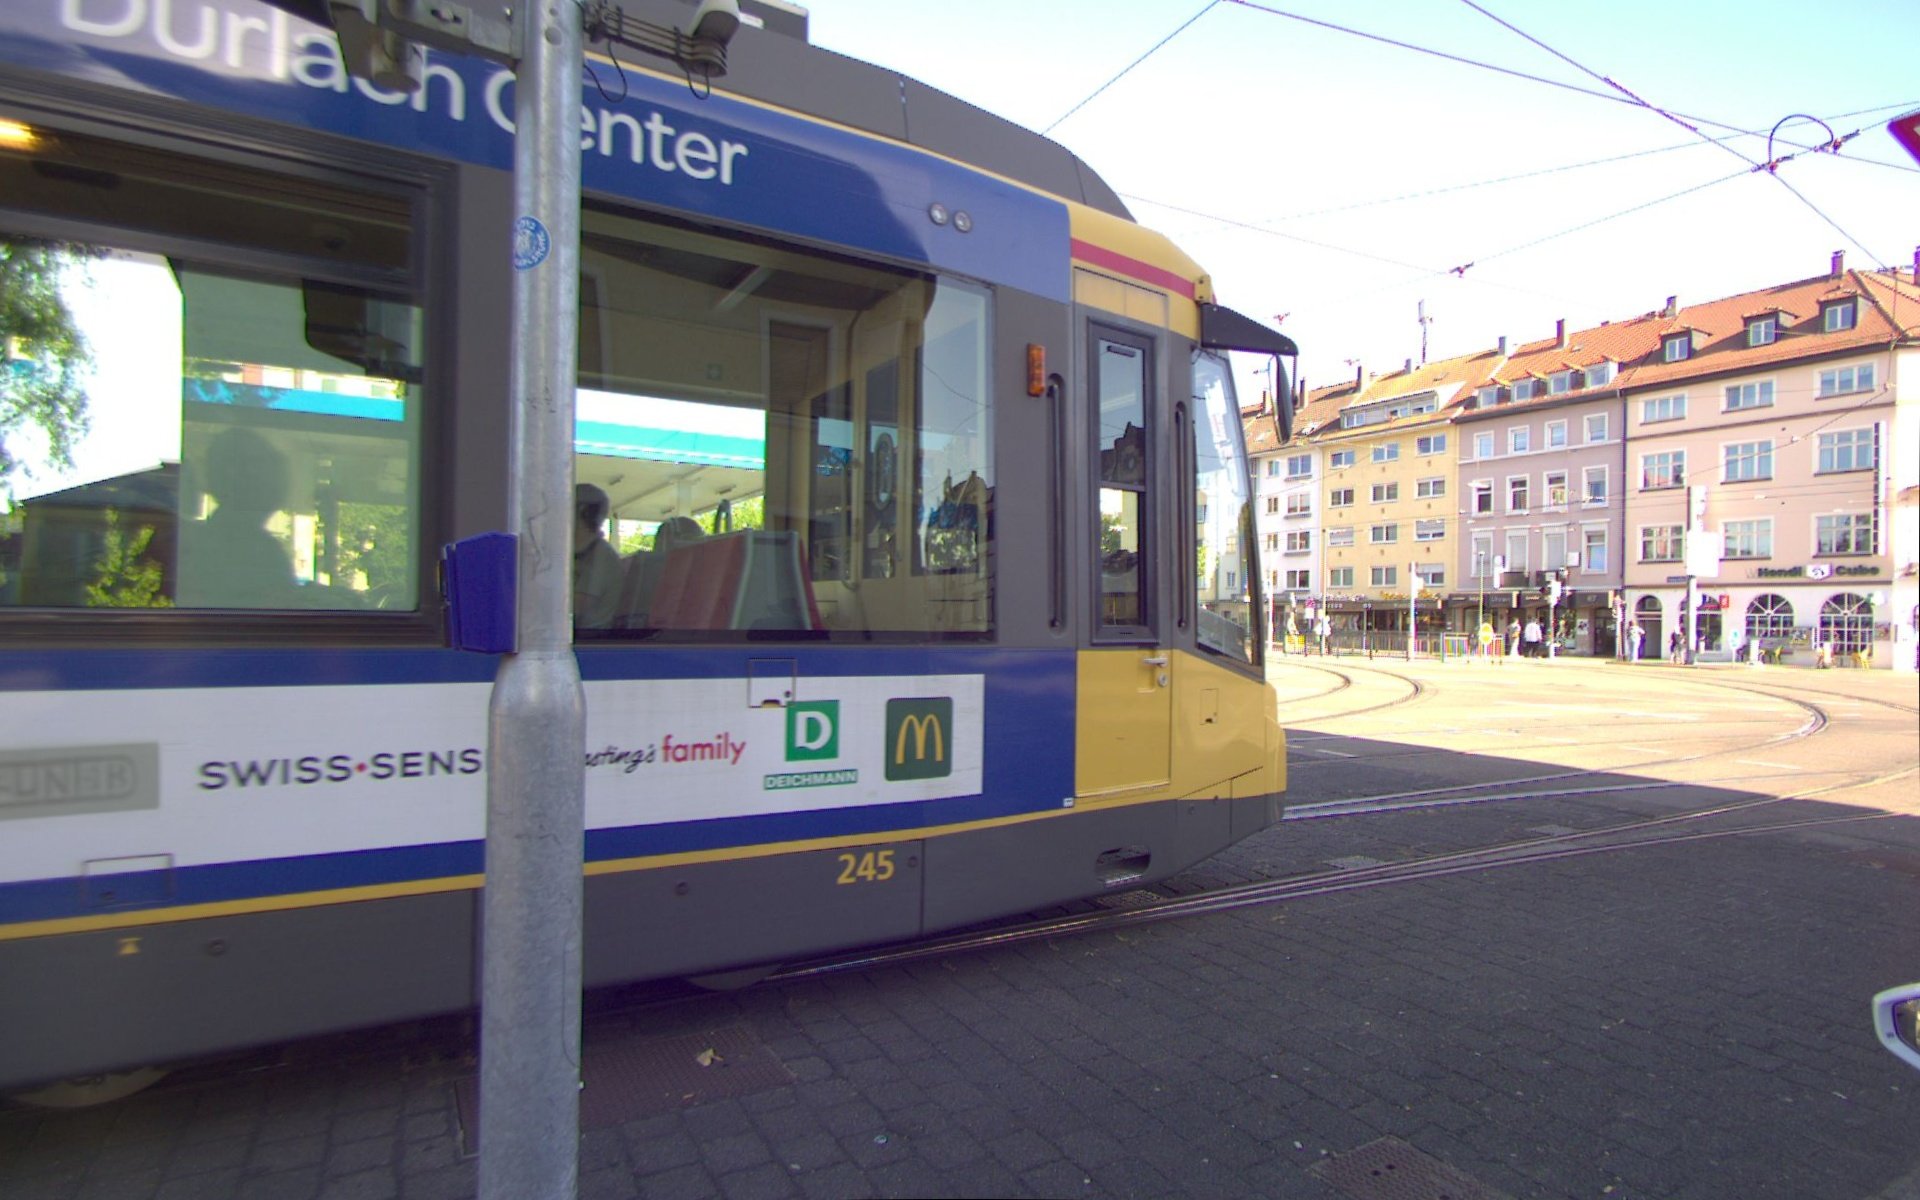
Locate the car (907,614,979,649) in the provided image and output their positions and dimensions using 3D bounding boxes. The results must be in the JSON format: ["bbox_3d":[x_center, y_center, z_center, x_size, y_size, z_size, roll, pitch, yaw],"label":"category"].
[{"bbox_3d":[-0.855,1.490,48.320,1.863,1.601,3.971,1,-1,-28],"label":"car"}]

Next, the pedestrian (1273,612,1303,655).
[{"bbox_3d":[13.228,1.337,40.500,0.935,1.677,0.826,0,-1,32],"label":"pedestrian"}]

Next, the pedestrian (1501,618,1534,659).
[{"bbox_3d":[24.469,1.678,44.104,0.924,1.779,0.934,1,-1,-30],"label":"pedestrian"}]

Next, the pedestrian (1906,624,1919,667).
[{"bbox_3d":[39.941,1.903,41.638,0.803,1.767,1.036,2,-1,-43],"label":"pedestrian"}]

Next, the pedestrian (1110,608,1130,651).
[{"bbox_3d":[6.920,1.273,43.454,0.774,1.794,0.680,1,-1,11],"label":"pedestrian"}]

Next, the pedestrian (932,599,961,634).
[{"bbox_3d":[-0.735,0.892,54.333,1.156,1.870,1.098,2,-1,-28],"label":"pedestrian"}]

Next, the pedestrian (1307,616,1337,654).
[{"bbox_3d":[14.401,1.378,39.941,0.912,1.473,0.825,1,-1,3],"label":"pedestrian"}]

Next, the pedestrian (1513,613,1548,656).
[{"bbox_3d":[23.810,1.444,41.908,0.924,1.779,0.934,1,-1,-30],"label":"pedestrian"}]

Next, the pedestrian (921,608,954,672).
[{"bbox_3d":[-0.592,1.043,26.322,0.703,1.641,1.105,1,-1,-9],"label":"pedestrian"}]

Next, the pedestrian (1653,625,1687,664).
[{"bbox_3d":[34.069,2.126,48.207,0.926,1.798,1.006,1,-1,-15],"label":"pedestrian"}]

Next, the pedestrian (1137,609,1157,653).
[{"bbox_3d":[7.794,1.291,41.845,0.774,1.794,0.680,1,-1,11],"label":"pedestrian"}]

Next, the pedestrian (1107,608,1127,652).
[{"bbox_3d":[6.644,1.259,42.443,0.774,1.794,0.876,1,-1,11],"label":"pedestrian"}]

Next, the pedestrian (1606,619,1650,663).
[{"bbox_3d":[26.644,1.613,40.072,1.091,1.707,1.075,1,-1,-30],"label":"pedestrian"}]

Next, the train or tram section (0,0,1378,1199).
[{"bbox_3d":[-3.991,-0.476,2.642,11.886,3.546,2.758,1,-1,-30],"label":"train or tram section"}]

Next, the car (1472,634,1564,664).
[{"bbox_3d":[30.425,2.635,54.911,1.977,1.472,3.966,1,-1,-31],"label":"car"}]

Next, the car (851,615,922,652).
[{"bbox_3d":[-3.479,1.526,46.739,1.863,1.601,3.971,1,-1,-28],"label":"car"}]
